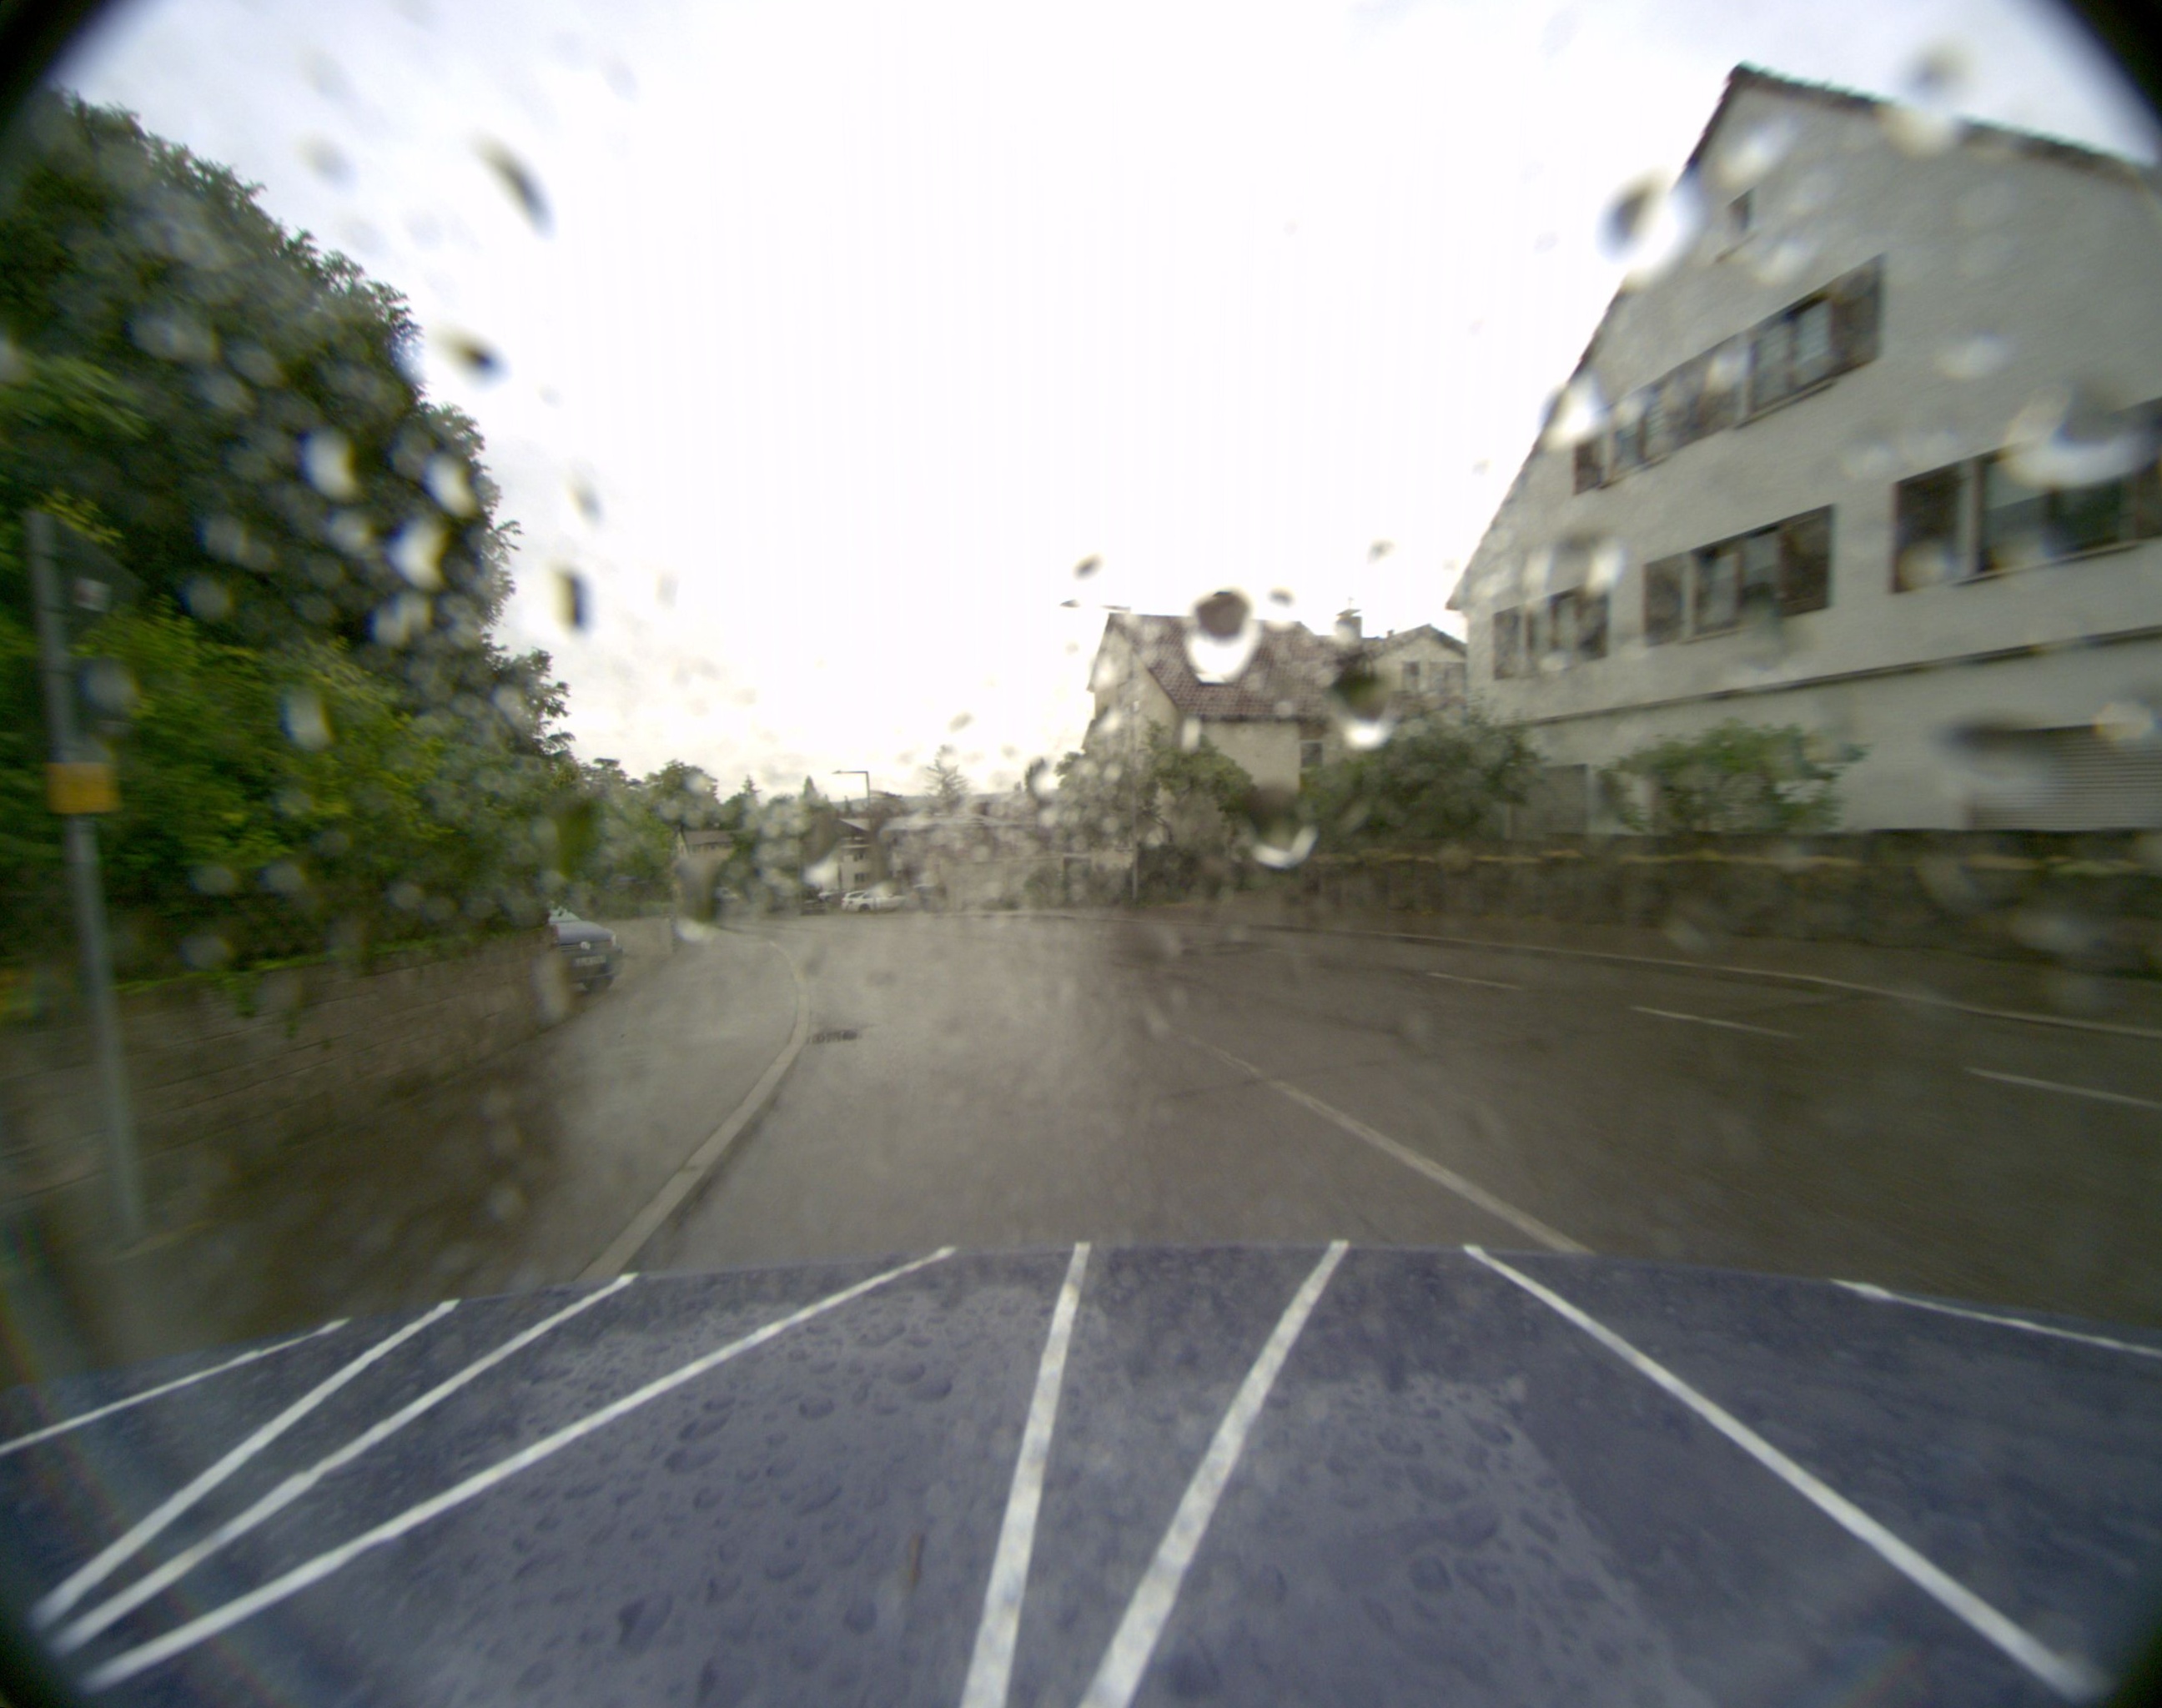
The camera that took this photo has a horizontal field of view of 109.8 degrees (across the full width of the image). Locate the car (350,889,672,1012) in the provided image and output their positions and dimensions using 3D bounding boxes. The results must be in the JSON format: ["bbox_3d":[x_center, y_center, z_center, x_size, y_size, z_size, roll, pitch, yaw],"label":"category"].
[{"bbox_3d":[-8.657,1.418,11.576,4.330,1.596,1.860,-3,-4,21],"label":"car"}]

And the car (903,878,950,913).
[{"bbox_3d":[-8.516,2.266,41.541,1.982,1.649,4.957,-4,-1,-17],"label":"car"}]

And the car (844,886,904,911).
[{"bbox_3d":[-15.129,3.231,55.736,4.000,1.496,1.899,-4,-1,-11],"label":"car"}]

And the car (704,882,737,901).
[{"bbox_3d":[-57.171,5.962,120.411,4.309,2.736,1.994,-2,2,-38],"label":"car"}]

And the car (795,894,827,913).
[{"bbox_3d":[-23.217,4.229,65.164,1.903,1.432,4.438,-2,-2,-29],"label":"car"}]

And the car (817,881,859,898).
[{"bbox_3d":[-26.769,3.860,83.769,4.005,1.499,1.799,-3,1,-29],"label":"car"}]

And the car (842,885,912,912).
[{"bbox_3d":[-14.145,3.047,52.705,4.514,1.496,1.898,-4,-1,-18],"label":"car"}]
